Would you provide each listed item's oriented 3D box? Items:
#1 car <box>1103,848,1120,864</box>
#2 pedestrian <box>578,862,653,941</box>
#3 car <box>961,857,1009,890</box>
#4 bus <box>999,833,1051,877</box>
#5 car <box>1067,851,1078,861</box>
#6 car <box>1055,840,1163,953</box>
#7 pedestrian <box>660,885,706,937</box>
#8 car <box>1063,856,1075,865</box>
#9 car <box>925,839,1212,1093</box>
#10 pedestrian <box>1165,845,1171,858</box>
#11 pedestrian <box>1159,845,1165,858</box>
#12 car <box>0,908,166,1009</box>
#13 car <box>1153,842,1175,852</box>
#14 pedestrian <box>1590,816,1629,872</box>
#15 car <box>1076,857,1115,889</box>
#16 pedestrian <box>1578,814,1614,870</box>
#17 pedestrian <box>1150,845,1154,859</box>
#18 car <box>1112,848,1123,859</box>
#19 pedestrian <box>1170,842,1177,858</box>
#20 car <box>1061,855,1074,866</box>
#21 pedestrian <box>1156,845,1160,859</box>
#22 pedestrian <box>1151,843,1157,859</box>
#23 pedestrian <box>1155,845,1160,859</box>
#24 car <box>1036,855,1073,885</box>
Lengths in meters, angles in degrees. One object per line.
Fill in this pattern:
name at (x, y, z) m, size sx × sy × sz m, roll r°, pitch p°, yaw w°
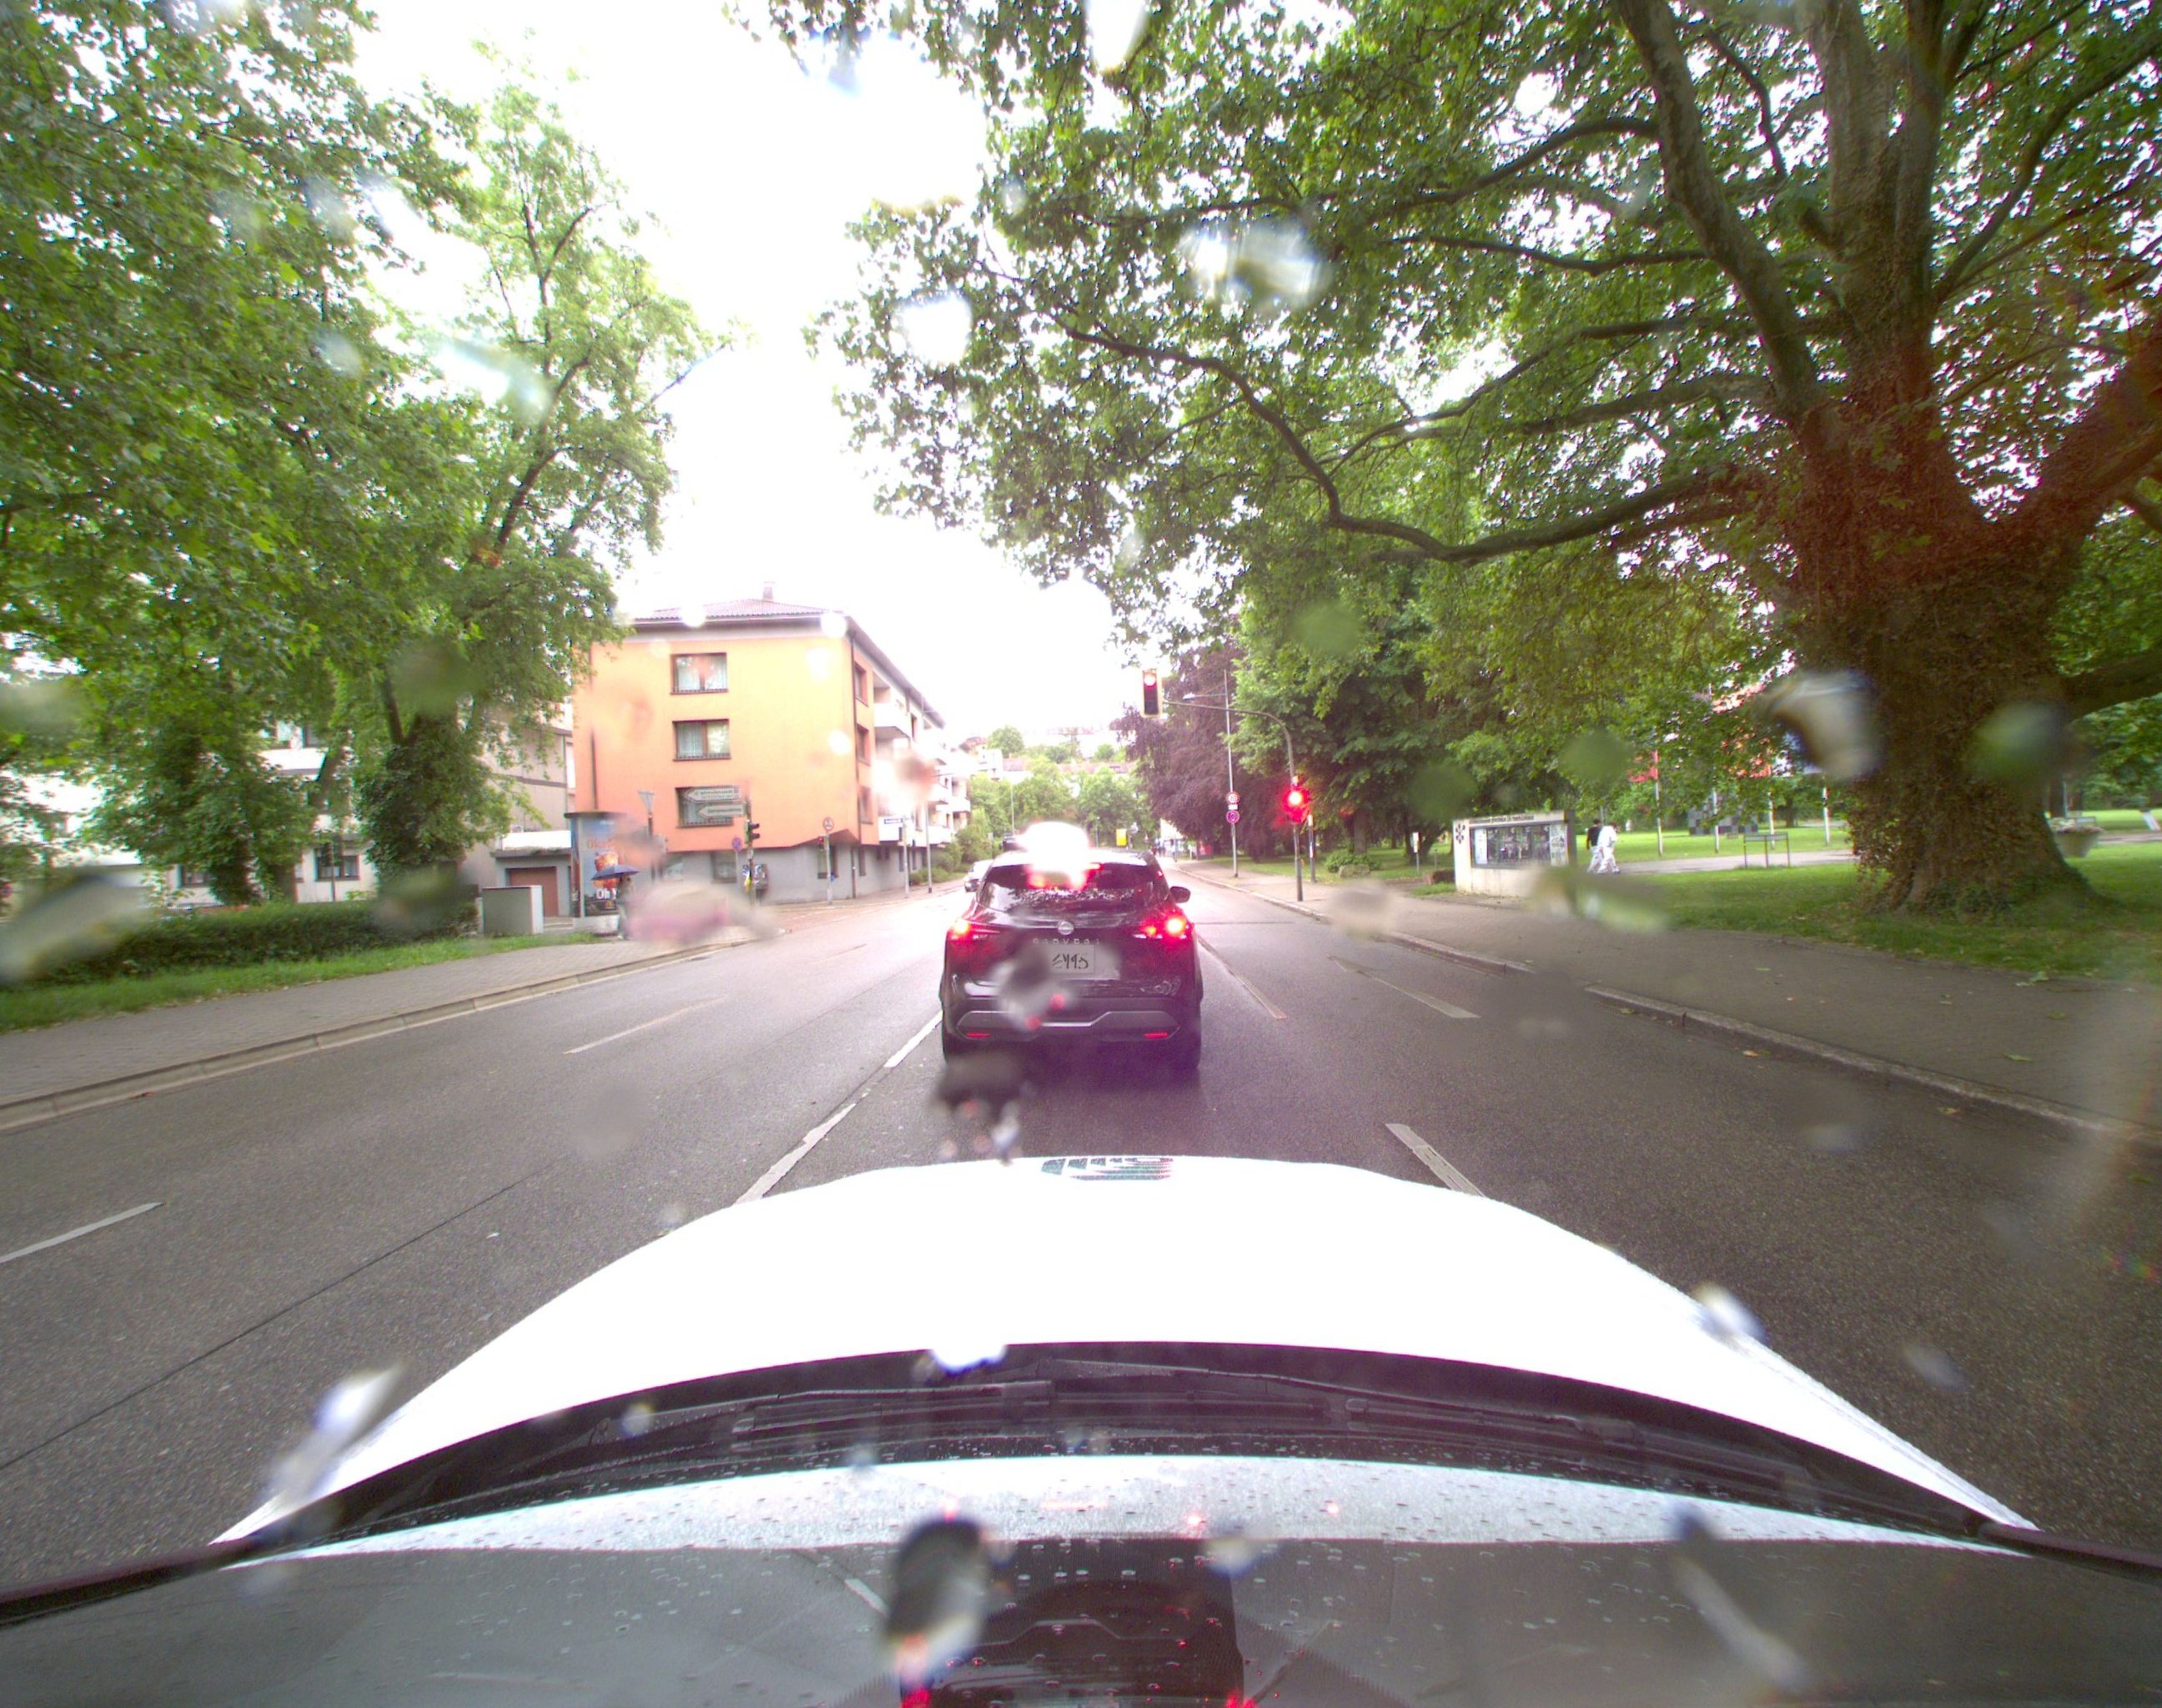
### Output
car at (3.157, 0.194, 83.282) m, size 1.618 × 1.415 × 3.456 m, roll -3°, pitch 0°, yaw 2°
pedestrian at (-10.743, 1.071, 18.845) m, size 0.988 × 1.742 × 1.210 m, roll -1°, pitch 0°, yaw 1°
car at (-4.774, 0.965, 41.186) m, size 1.802 × 1.417 × 4.031 m, roll -4°, pitch 0°, yaw 1°
bus at (-4.202, 0.098, 64.167) m, size 2.756 × 2.974 × 11.786 m, roll -3°, pitch 0°, yaw 2°
car at (-1.451, 0.388, 139.227) m, size 1.743 × 1.633 × 3.636 m, roll -3°, pitch 0°, yaw 2°
car at (0.555, 0.674, 14.817) m, size 1.615 × 1.709 × 3.774 m, roll -3°, pitch 0°, yaw 3°
pedestrian at (-9.493, 1.359, 19.450) m, size 0.681 × 1.175 × 0.827 m, roll -1°, pitch 0°, yaw 1°
car at (-1.925, 1.026, 129.864) m, size 1.671 × 1.296 × 3.752 m, roll -4°, pitch 0°, yaw 1°
car at (-0.018, 0.721, 7.140) m, size 1.799 × 1.590 × 4.001 m, roll 0°, pitch -1°, yaw 2°
pedestrian at (11.792, -0.373, 110.457) m, size 0.616 × 1.779 × 0.551 m, roll -3°, pitch 0°, yaw 1°
pedestrian at (10.947, -0.315, 109.820) m, size 0.616 × 1.779 × 0.551 m, roll -3°, pitch 0°, yaw 1°
car at (-18.004, 1.736, 13.815) m, size 3.182 × 1.524 × 1.507 m, roll 0°, pitch -1°, yaw -1°
car at (16.745, -1.373, 164.121) m, size 3.986 × 1.684 × 1.994 m, roll -3°, pitch 0°, yaw -9°
pedestrian at (16.460, -0.303, 25.380) m, size 0.663 × 1.712 × 0.788 m, roll 0°, pitch -1°, yaw -7°
car at (0.729, 0.919, 41.174) m, size 1.802 × 1.417 × 4.031 m, roll -2°, pitch 0°, yaw 1°
pedestrian at (16.593, -0.379, 26.255) m, size 0.663 × 1.756 × 0.722 m, roll 0°, pitch -1°, yaw -7°
pedestrian at (8.875, -0.234, 101.865) m, size 0.473 × 1.651 × 0.490 m, roll 0°, pitch -1°, yaw 2°
car at (6.241, -0.065, 137.936) m, size 1.743 × 1.633 × 3.636 m, roll -3°, pitch 0°, yaw 2°
pedestrian at (10.495, -0.422, 92.151) m, size 0.616 × 1.779 × 0.779 m, roll -3°, pitch 0°, yaw 1°
car at (-1.946, 0.950, 116.445) m, size 1.671 × 1.469 × 4.217 m, roll -4°, pitch 0°, yaw 1°
pedestrian at (9.480, -0.232, 100.284) m, size 0.513 × 1.655 × 0.550 m, roll 0°, pitch -1°, yaw 1°
pedestrian at (10.083, -0.404, 112.515) m, size 0.764 × 2.183 × 0.712 m, roll 0°, pitch -1°, yaw 5°
pedestrian at (9.578, -0.239, 101.852) m, size 0.542 × 1.651 × 0.490 m, roll 0°, pitch -1°, yaw 2°
car at (-1.346, 0.806, 42.770) m, size 1.618 × 1.415 × 3.456 m, roll -3°, pitch 0°, yaw 2°
